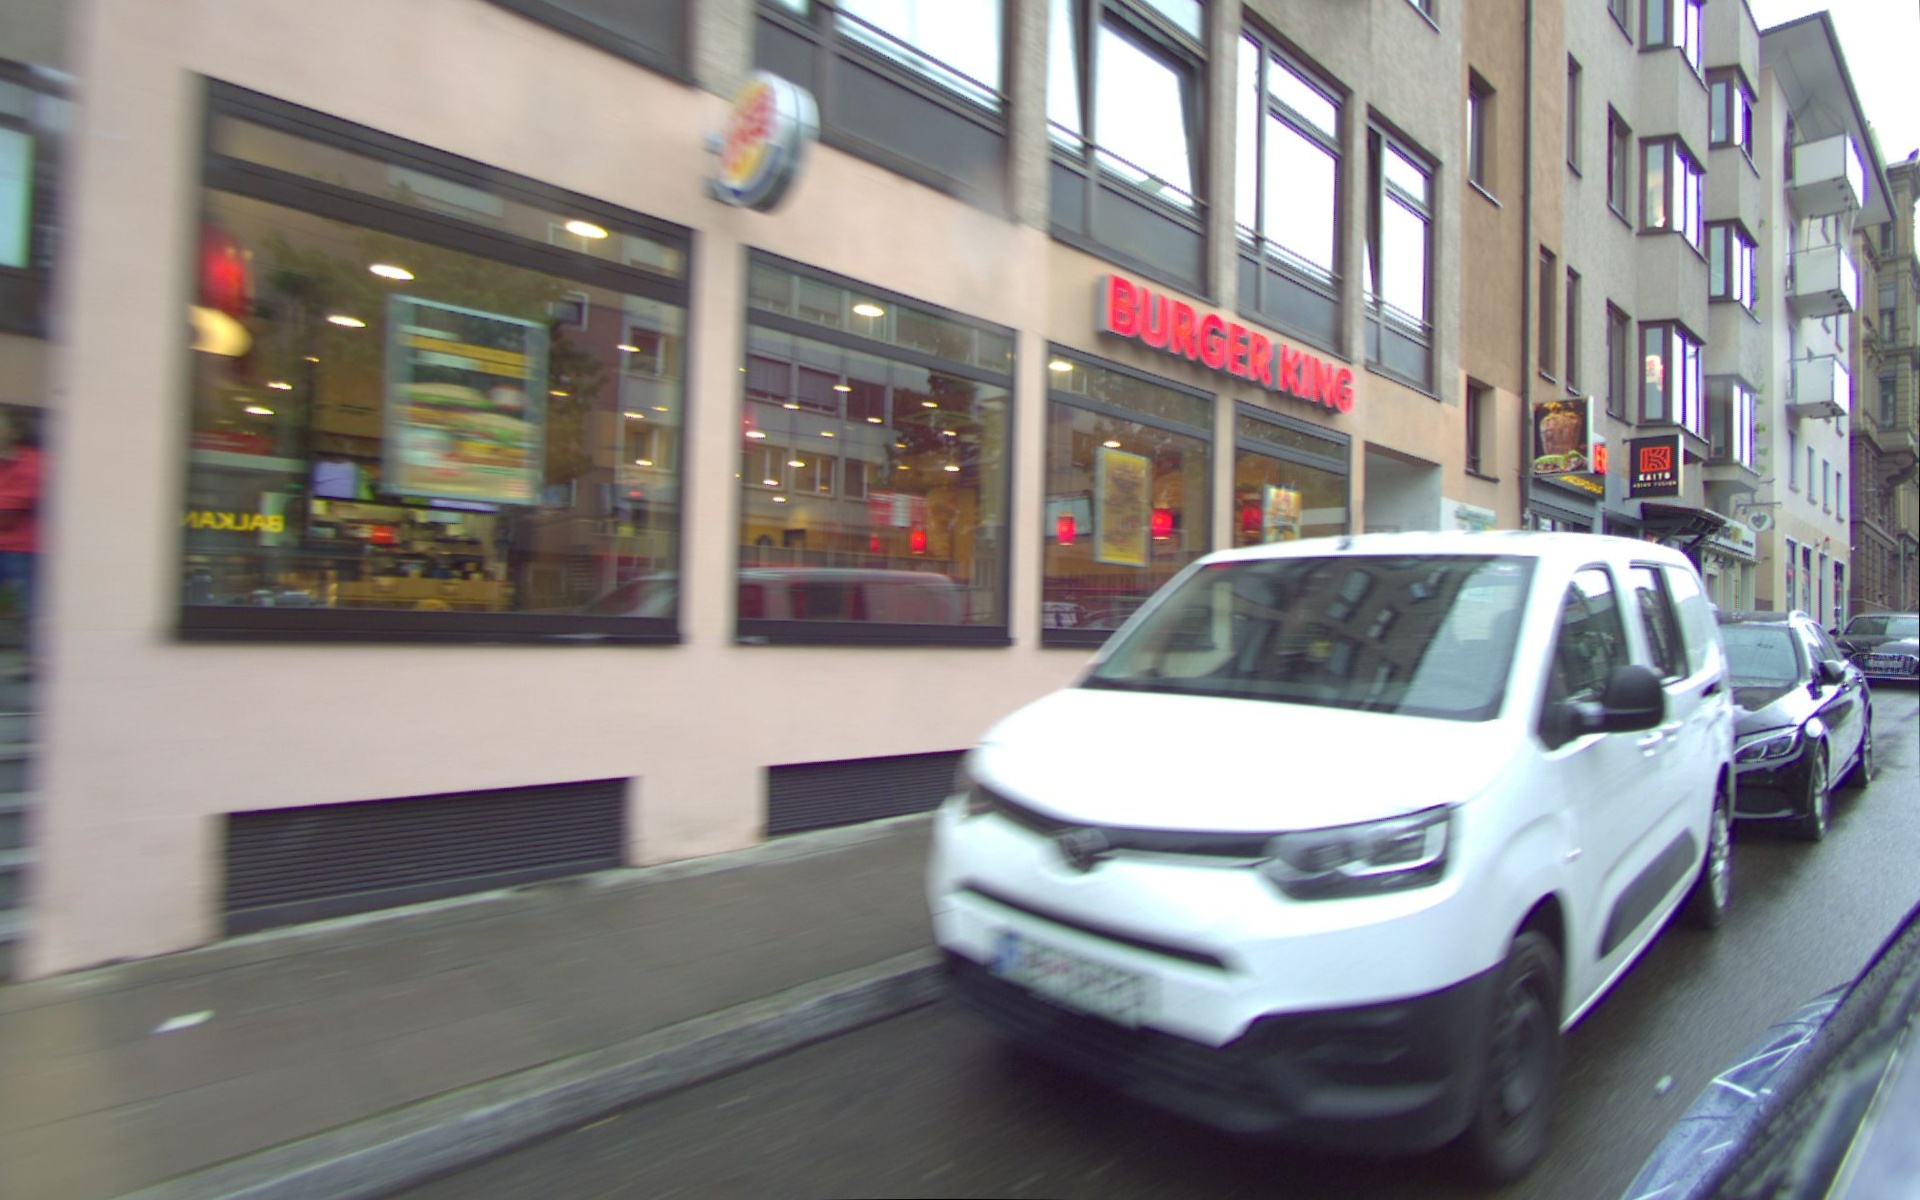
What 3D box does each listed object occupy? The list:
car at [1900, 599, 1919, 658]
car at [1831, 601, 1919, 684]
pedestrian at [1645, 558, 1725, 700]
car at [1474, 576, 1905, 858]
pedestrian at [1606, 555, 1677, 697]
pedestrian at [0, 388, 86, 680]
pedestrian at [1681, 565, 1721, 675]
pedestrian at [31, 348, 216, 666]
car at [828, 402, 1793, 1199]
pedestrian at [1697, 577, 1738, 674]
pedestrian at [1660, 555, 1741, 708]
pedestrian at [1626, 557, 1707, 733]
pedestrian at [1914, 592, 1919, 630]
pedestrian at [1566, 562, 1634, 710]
[{"bbox_3d":[25.624,0.712,26.171,3.355,1.480,1.648,0,0,-42],"label":"car"},{"bbox_3d":[18.771,0.777,20.020,4.174,1.480,1.909,0,0,-43],"label":"car"},{"bbox_3d":[9.760,0.367,13.633,0.578,1.842,0.757,0,0,-41],"label":"pedestrian"},{"bbox_3d":[5.944,0.662,8.033,4.337,1.636,1.909,0,0,-42],"label":"car"},{"bbox_3d":[8.654,0.313,12.850,0.571,1.735,0.611,0,0,-41],"label":"pedestrian"},{"bbox_3d":[-5.797,-0.380,6.000,0.613,1.670,0.726,0,0,-1],"label":"pedestrian"},{"bbox_3d":[12.915,0.339,17.638,0.528,1.882,0.548,1,0,40],"label":"pedestrian"},{"bbox_3d":[-5.110,-0.544,6.217,0.585,1.843,0.667,0,0,-1],"label":"pedestrian"},{"bbox_3d":[1.909,0.531,4.212,4.698,1.829,1.908,0,0,-44],"label":"car"},{"bbox_3d":[13.536,0.442,18.077,0.544,1.702,0.587,1,0,40],"label":"pedestrian"},{"bbox_3d":[9.411,0.381,12.864,0.641,1.878,0.696,0,0,-41],"label":"pedestrian"},{"bbox_3d":[8.209,0.496,11.761,0.524,1.972,0.652,0,0,-41],"label":"pedestrian"},{"bbox_3d":[42.070,0.492,44.261,0.487,1.666,0.621,1,0,44],"label":"pedestrian"},{"bbox_3d":[7.720,0.418,12.211,0.469,1.735,0.577,0,0,-41],"label":"pedestrian"}]
